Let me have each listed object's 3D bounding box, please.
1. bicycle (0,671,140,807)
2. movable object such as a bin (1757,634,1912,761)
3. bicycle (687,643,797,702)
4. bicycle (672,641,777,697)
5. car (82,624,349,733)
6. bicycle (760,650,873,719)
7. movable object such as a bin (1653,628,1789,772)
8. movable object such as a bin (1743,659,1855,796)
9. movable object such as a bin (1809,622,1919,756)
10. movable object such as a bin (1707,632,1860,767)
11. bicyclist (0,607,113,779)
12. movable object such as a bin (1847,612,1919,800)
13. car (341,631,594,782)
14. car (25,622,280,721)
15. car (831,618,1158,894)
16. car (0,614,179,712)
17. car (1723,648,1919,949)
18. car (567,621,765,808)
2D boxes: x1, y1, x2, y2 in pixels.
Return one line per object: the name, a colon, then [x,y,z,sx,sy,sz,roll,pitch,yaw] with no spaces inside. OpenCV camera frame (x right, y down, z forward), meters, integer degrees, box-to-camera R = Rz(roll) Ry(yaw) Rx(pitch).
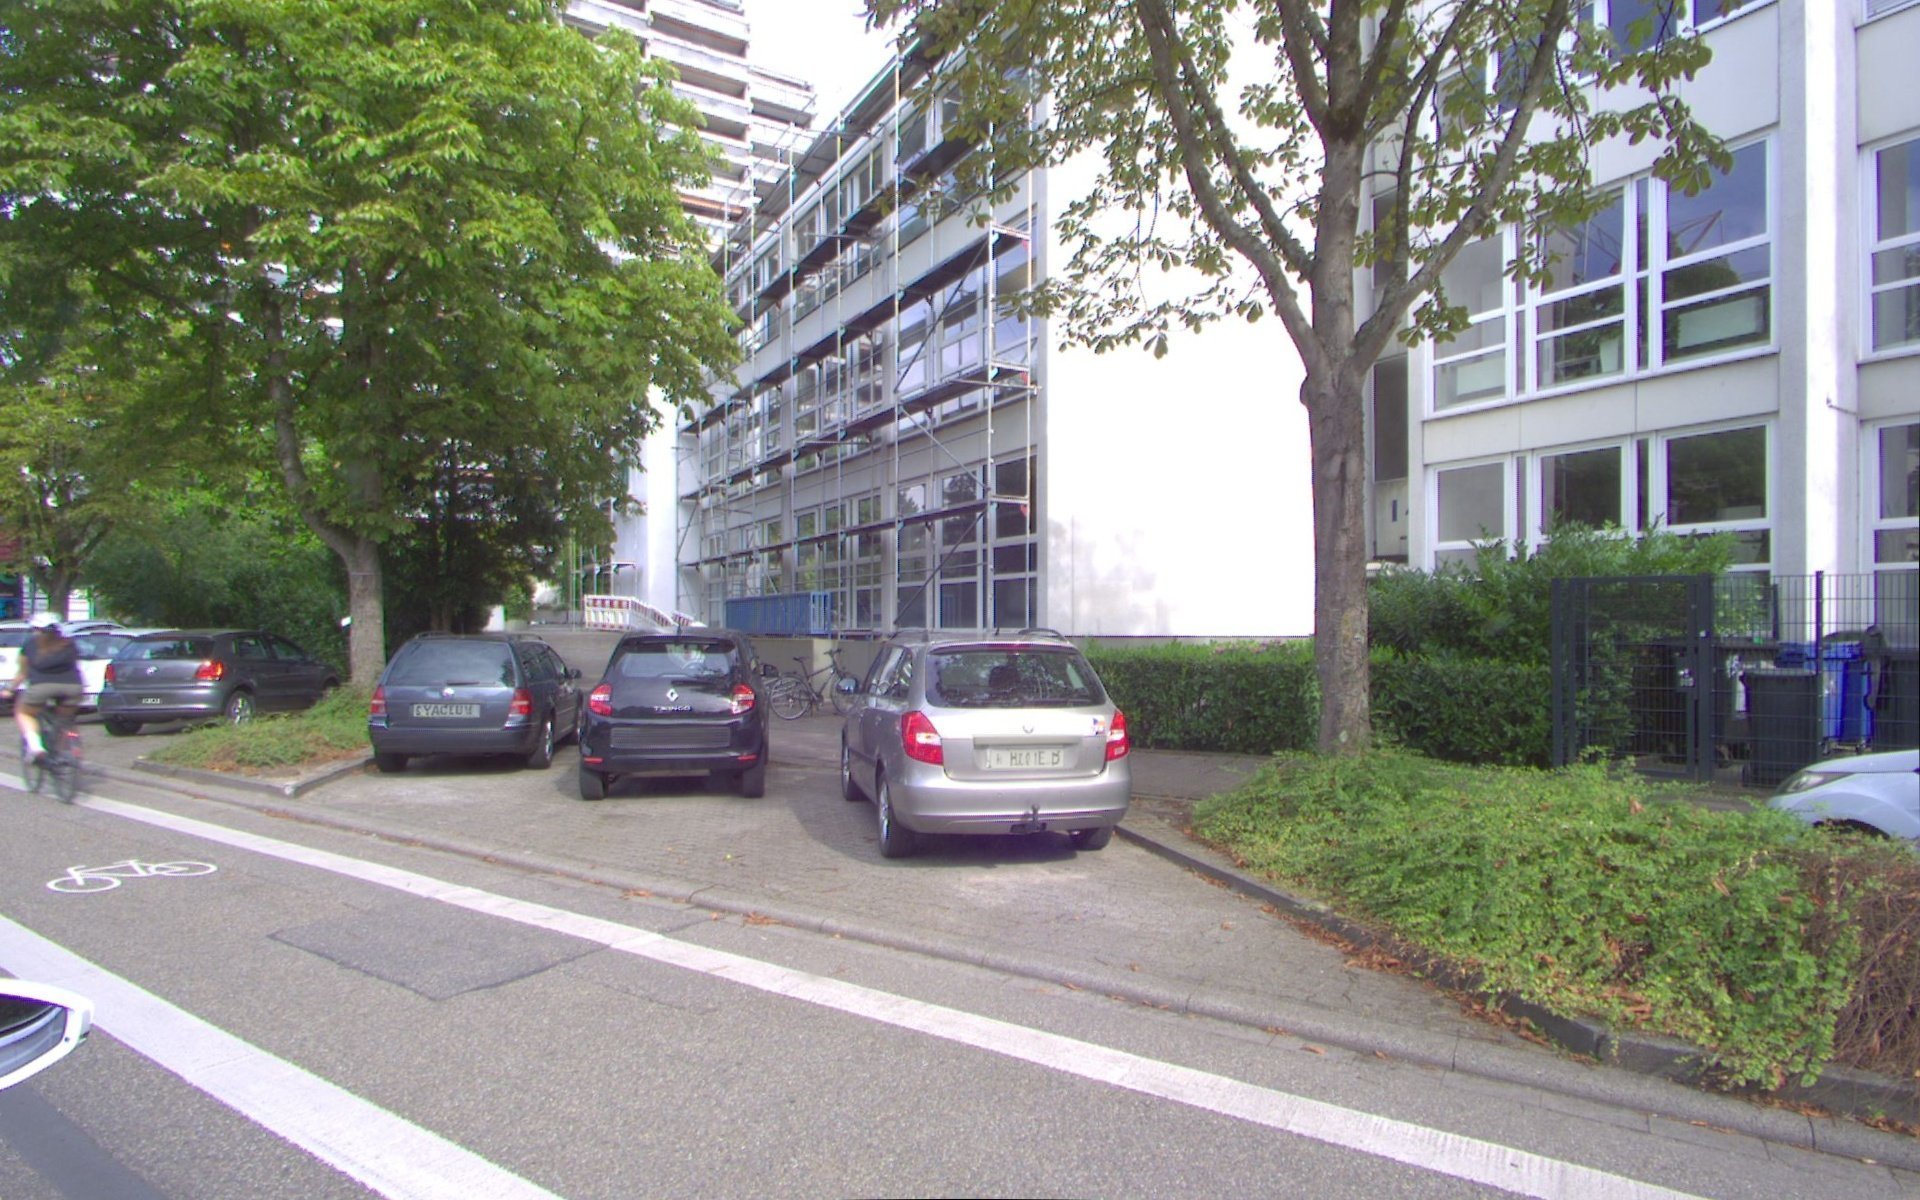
bicycle: [-8.227,1.209,9.084,1.949,1.057,0.592,-1,-1,31]
movable object such as a bin: [10.386,1.109,11.906,1.160,1.388,1.171,1,-1,-36]
bicycle: [-4.107,1.357,18.949,1.949,1.057,0.591,1,-1,-30]
bicycle: [-4.627,1.348,19.683,1.944,1.057,0.593,1,-1,-20]
car: [-11.091,1.105,15.259,1.650,1.438,3.647,0,-2,-6]
bicycle: [-2.369,1.380,16.594,1.813,1.057,0.451,0,0,-29]
movable object such as a bin: [8.080,1.017,10.640,1.012,1.425,0.906,1,-1,-36]
movable object such as a bin: [7.464,1.105,8.948,0.734,1.119,0.781,0,-1,38]
movable object such as a bin: [11.569,1.071,12.568,1.160,1.588,1.171,1,-1,-36]
movable object such as a bin: [9.241,1.070,11.253,1.050,1.409,1.111,1,-1,-36]
bicyclist: [-8.263,0.814,9.116,0.862,1.478,0.592,0,-1,31]
movable object such as a bin: [8.601,0.886,8.563,1.397,1.549,1.322,-1,-1,37]
car: [-5.516,1.084,11.788,1.783,1.433,4.166,0,-2,-13]
car: [-13.430,1.134,16.961,1.650,1.493,3.647,0,-2,-6]
car: [-0.018,0.956,7.816,1.566,1.557,4.049,1,-2,-13]
car: [-16.287,1.101,18.372,1.651,1.623,3.644,0,-2,-12]
car: [5.571,0.939,4.017,1.604,1.411,3.858,1,-2,-13]
car: [-2.812,1.010,10.191,1.566,1.557,3.416,1,-1,-10]
